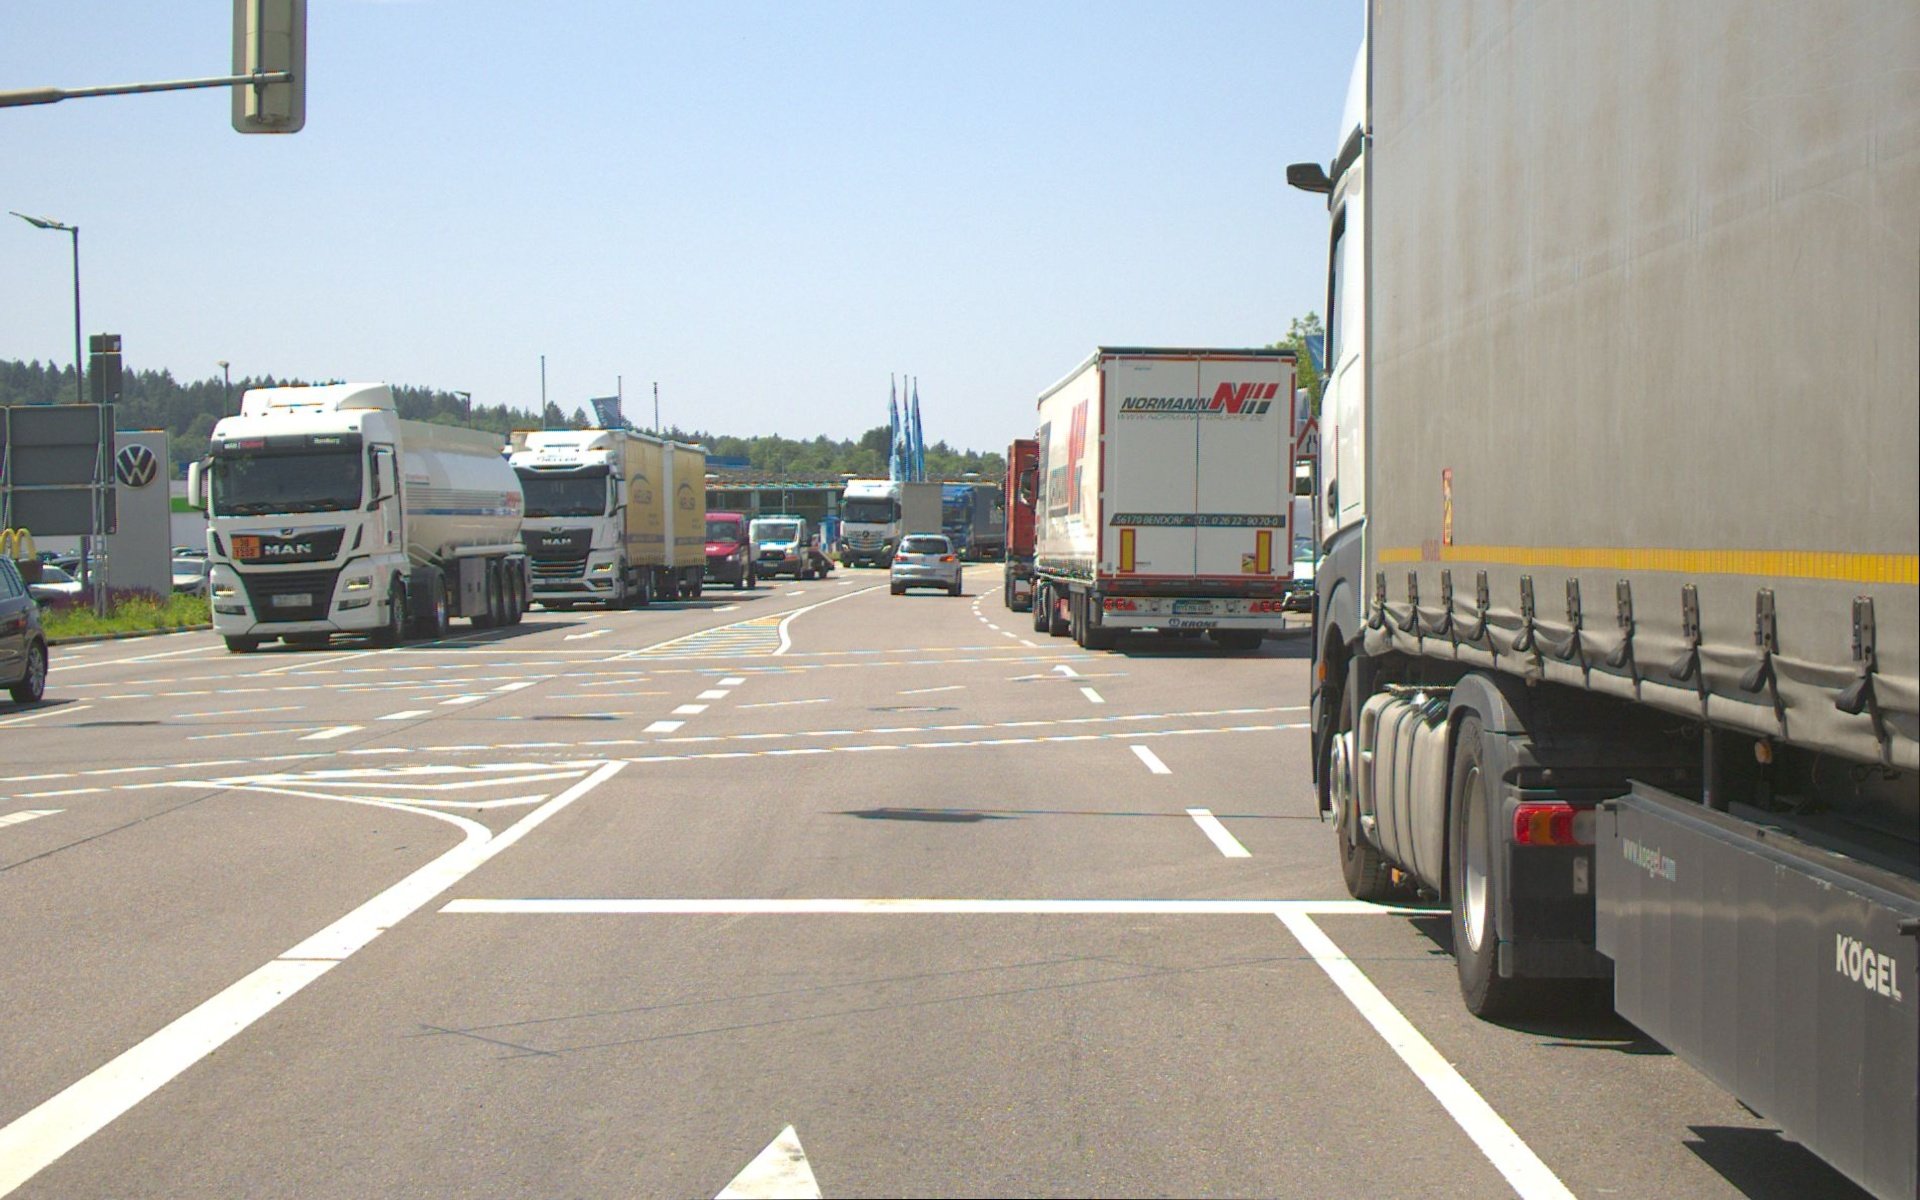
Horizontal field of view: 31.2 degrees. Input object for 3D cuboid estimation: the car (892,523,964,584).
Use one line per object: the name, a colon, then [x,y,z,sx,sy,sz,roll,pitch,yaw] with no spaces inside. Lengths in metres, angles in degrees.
car: [-0.864,-1.289,95.463,1.805,1.664,4.291,0,1,2]

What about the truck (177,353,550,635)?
truck: [-9.299,-1.635,55.786,2.934,3.936,14.237,-1,1,2]

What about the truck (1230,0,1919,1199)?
truck: [2.758,-0.577,7.903,2.755,4.623,16.655,0,0,-1]

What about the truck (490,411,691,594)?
truck: [-8.593,-2.263,81.846,2.934,3.936,13.865,-1,1,1]

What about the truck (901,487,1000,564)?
truck: [-0.407,-3.980,183.731,3.272,3.936,13.861,-1,1,8]

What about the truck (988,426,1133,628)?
truck: [2.299,-1.590,84.708,2.875,4.463,16.655,0,0,-1]

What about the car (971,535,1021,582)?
car: [1.593,-1.825,150.736,1.994,2.007,4.000,-1,1,3]

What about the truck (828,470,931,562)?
truck: [-3.676,-3.857,161.423,3.271,3.937,13.862,0,0,5]

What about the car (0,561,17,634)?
car: [-23.561,-0.001,78.285,1.789,1.653,3.581,-1,1,42]

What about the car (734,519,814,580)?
car: [-6.398,-1.750,118.787,2.203,2.007,4.755,-1,1,3]

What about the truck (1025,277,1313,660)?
truck: [2.798,-1.805,51.174,2.934,4.821,14.873,-1,1,-1]

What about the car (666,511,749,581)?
car: [-7.581,-1.612,103.391,1.994,2.007,3.999,0,0,3]

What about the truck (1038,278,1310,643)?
truck: [2.907,-1.745,52.008,2.875,4.623,16.655,0,0,-1]

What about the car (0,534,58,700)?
car: [-10.058,0.198,32.507,1.825,1.577,4.246,-2,1,1]

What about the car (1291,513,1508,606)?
car: [8.977,-0.837,70.423,3.986,1.787,2.001,-1,1,-8]

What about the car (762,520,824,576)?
car: [-6.148,-1.910,127.043,1.905,2.007,3.999,0,0,3]
